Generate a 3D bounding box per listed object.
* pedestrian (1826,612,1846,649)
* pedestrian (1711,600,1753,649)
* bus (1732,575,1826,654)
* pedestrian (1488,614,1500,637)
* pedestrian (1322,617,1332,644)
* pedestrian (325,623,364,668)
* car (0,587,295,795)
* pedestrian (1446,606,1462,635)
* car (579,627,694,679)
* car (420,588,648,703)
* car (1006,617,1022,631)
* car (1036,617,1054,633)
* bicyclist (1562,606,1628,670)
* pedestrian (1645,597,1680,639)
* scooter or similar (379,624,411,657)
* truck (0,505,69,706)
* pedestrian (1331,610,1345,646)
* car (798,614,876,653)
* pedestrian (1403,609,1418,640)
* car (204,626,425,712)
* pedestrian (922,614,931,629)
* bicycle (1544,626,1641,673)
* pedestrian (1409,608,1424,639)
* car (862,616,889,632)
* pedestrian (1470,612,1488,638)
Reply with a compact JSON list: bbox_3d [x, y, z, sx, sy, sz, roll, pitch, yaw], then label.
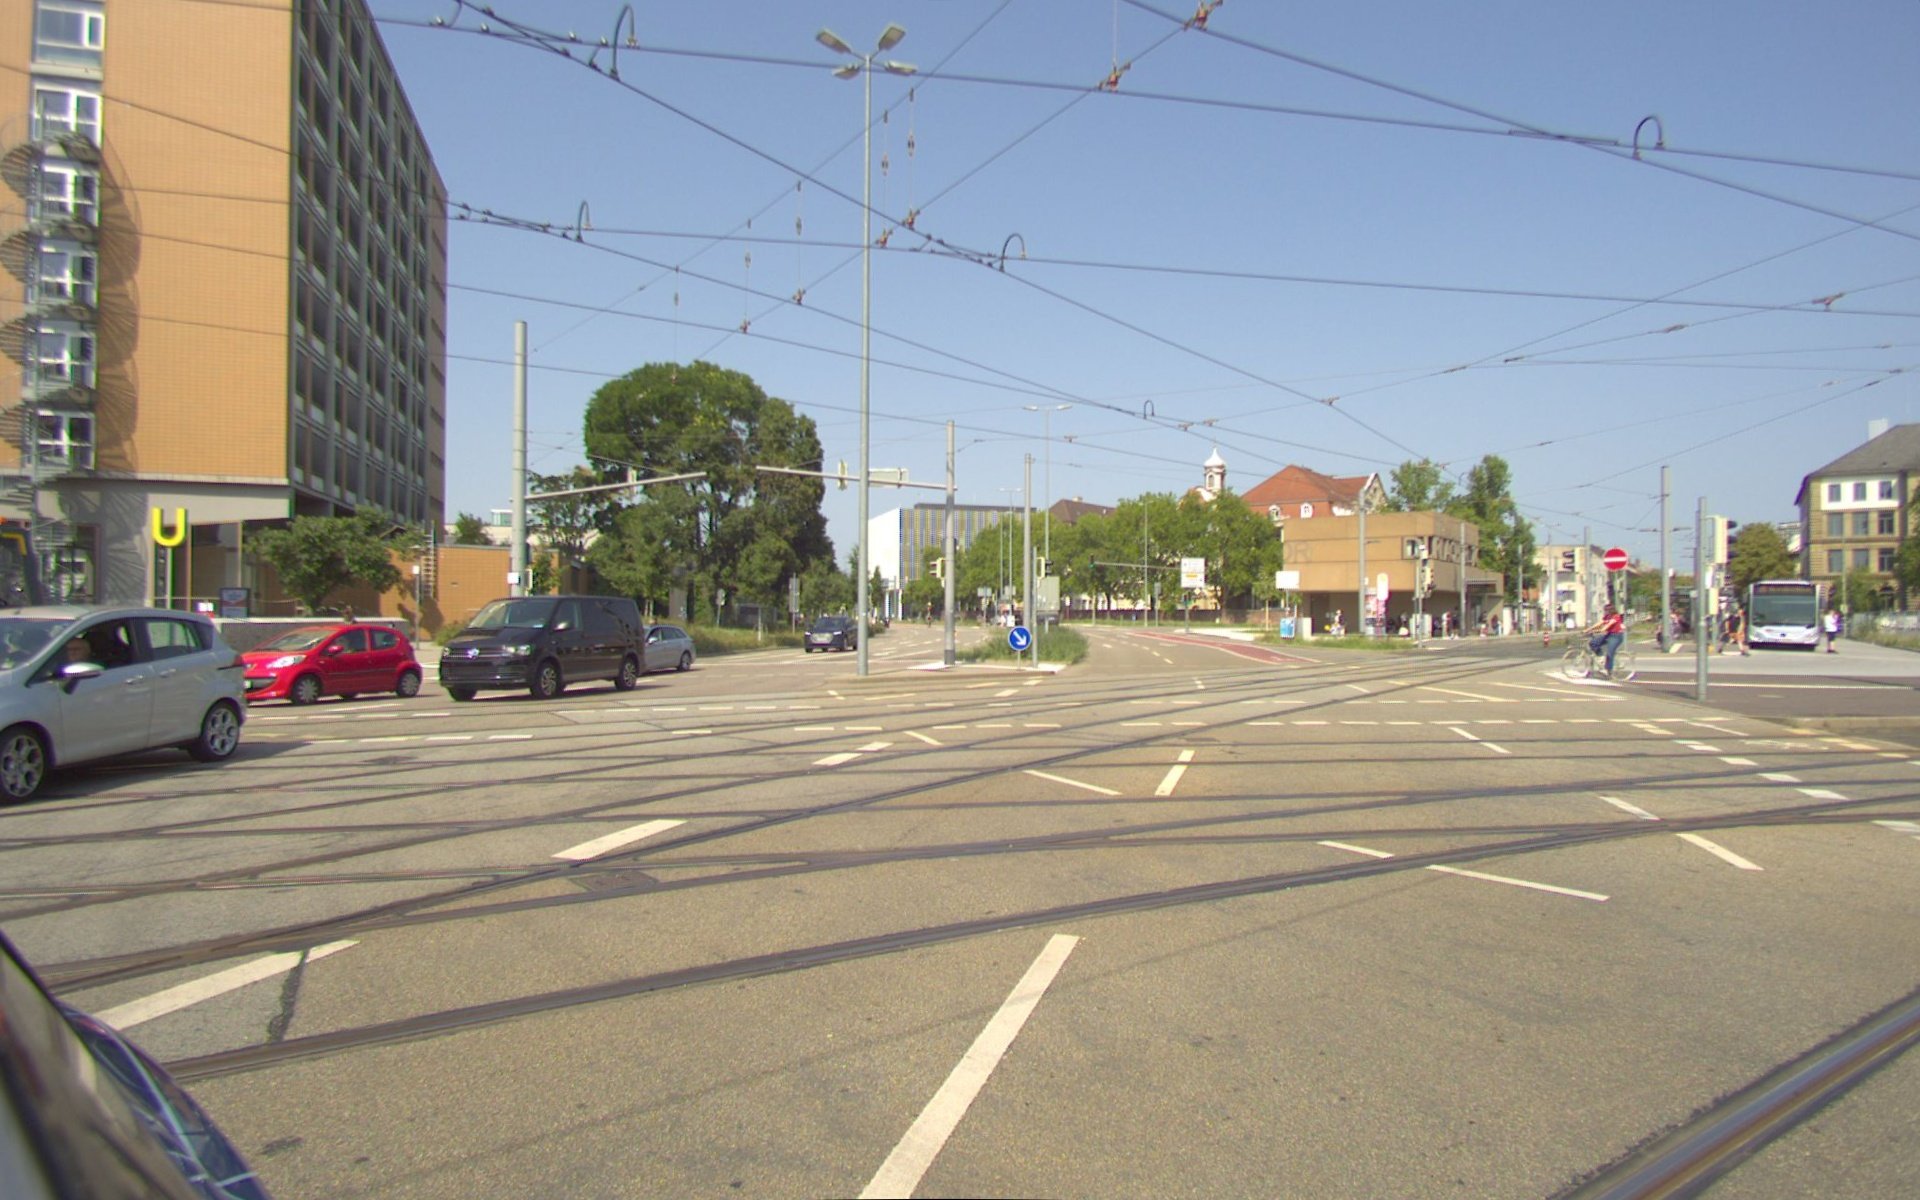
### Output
[{"bbox_3d":[36.842,1.263,42.573,0.576,1.540,0.592,0,-2,37],"label":"pedestrian"},{"bbox_3d":[29.027,0.927,38.064,0.945,1.793,0.786,1,-1,-3],"label":"pedestrian"},{"bbox_3d":[39.309,0.725,48.919,2.672,3.356,12.604,-1,-1,35],"label":"bus"},{"bbox_3d":[36.682,1.760,69.499,0.550,1.511,0.557,-3,-1,41],"label":"pedestrian"},{"bbox_3d":[18.833,1.560,51.954,0.457,1.385,0.348,-1,-1,14],"label":"pedestrian"},{"bbox_3d":[-19.938,1.464,32.819,0.775,1.405,0.849,0,-1,-3],"label":"pedestrian"},{"bbox_3d":[-8.258,0.728,9.169,1.669,1.607,4.362,0,-1,-1],"label":"car"},{"bbox_3d":[28.089,1.174,57.578,0.563,1.658,0.512,-2,-1,-3],"label":"pedestrian"},{"bbox_3d":[-9.033,1.439,28.533,1.503,1.349,3.491,-1,-1,14],"label":"car"},{"bbox_3d":[-8.041,0.822,19.718,1.879,1.945,4.873,0,-1,8],"label":"car"},{"bbox_3d":[6.052,2.644,113.019,1.659,1.532,3.699,-1,-1,5],"label":"car"},{"bbox_3d":[9.130,2.653,108.786,1.879,1.665,4.650,-1,-1,4],"label":"car"},{"bbox_3d":[14.965,0.891,23.874,0.966,1.470,0.878,0,-1,-2],"label":"bicyclist"},{"bbox_3d":[30.371,0.778,43.744,0.945,1.793,0.786,1,-1,-3],"label":"pedestrian"},{"bbox_3d":[-20.813,1.477,37.282,0.438,1.166,1.142,-1,-1,9],"label":"scooter or similar"},{"bbox_3d":[-18.173,0.164,14.840,3.033,3.253,7.111,-3,-1,32],"label":"truck"},{"bbox_3d":[19.395,1.436,51.895,0.555,1.830,0.558,-1,-1,14],"label":"pedestrian"},{"bbox_3d":[-5.558,1.493,46.441,1.981,1.653,4.677,-1,-1,15],"label":"car"},{"bbox_3d":[25.147,1.350,56.520,0.578,1.688,0.579,-3,-1,41],"label":"pedestrian"},{"bbox_3d":[-11.750,1.205,18.673,1.503,1.419,3.343,-1,-1,14],"label":"car"},{"bbox_3d":[-4.082,2.593,123.299,0.957,1.799,1.114,-1,-1,9],"label":"pedestrian"},{"bbox_3d":[14.898,1.160,23.861,1.885,1.077,0.615,0,-1,-1],"label":"bicycle"},{"bbox_3d":[25.747,1.336,57.059,0.578,1.688,0.579,-3,-1,41],"label":"pedestrian"},{"bbox_3d":[-10.280,2.967,123.388,1.980,1.807,3.982,-2,-1,14],"label":"car"},{"bbox_3d":[34.827,1.654,67.910,0.795,1.692,0.844,-3,-1,41],"label":"pedestrian"}]
